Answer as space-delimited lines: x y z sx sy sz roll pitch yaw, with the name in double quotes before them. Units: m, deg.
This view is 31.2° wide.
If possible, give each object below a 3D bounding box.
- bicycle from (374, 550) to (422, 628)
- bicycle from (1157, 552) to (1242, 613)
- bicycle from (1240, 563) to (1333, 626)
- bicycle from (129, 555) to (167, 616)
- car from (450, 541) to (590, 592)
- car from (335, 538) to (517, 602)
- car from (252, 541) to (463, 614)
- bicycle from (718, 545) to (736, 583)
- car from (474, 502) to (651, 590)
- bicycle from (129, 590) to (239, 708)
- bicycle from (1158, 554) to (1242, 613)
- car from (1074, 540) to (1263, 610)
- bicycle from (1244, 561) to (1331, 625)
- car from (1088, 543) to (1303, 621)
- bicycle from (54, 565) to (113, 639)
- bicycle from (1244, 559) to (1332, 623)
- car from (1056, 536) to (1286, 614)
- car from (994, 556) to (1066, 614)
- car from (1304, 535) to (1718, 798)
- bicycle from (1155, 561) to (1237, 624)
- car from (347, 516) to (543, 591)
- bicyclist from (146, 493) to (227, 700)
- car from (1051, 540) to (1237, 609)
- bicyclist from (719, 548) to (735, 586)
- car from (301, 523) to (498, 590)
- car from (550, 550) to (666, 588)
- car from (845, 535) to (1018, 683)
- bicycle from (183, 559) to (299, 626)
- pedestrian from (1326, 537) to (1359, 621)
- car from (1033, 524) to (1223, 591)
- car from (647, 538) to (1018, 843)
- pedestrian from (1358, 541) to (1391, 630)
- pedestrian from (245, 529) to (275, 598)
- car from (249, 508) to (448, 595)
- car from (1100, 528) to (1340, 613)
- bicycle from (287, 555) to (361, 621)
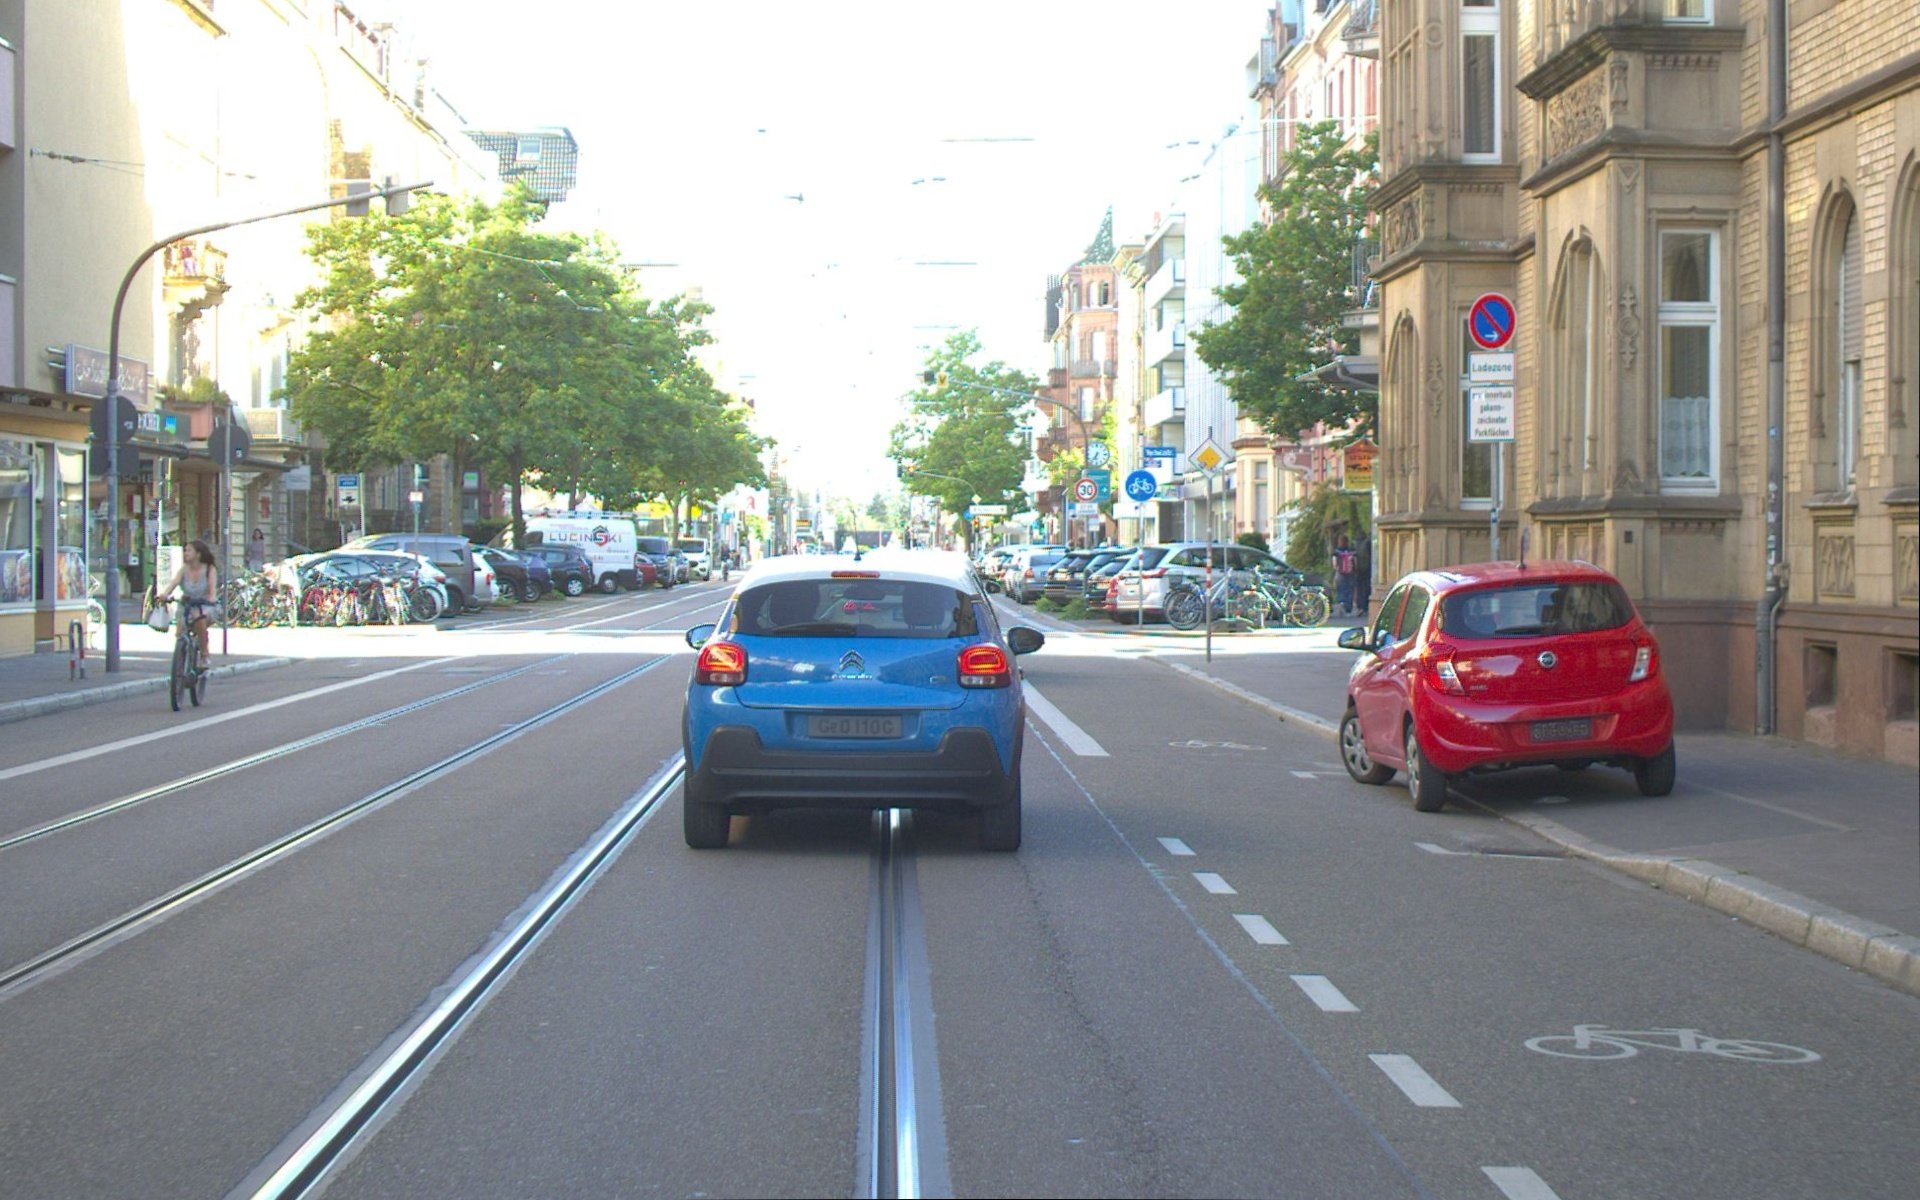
"bicycle" -10.362 -0.217 63.445 0.681 1.315 2.436 1 3 -5
"bicycle" 4.509 -0.333 64.644 1.560 1.123 0.294 1 0 6
"bicycle" 6.027 -0.100 63.417 1.675 1.123 0.551 1 0 6
"bicycle" -14.890 -0.277 63.030 0.403 1.106 1.838 0 0 -22
"car" -13.455 -1.016 105.139 3.986 1.484 1.807 1 0 -17
"car" -12.525 -0.712 80.609 3.831 1.425 1.766 1 1 -27
"car" -12.130 -0.455 69.282 3.780 1.395 1.755 1 1 -34
"bicycle" -10.276 -1.592 151.762 0.680 1.673 2.097 1 0 -1
"car" -12.842 -1.730 111.148 5.370 2.739 1.806 1 0 -31
"bicycle" -7.601 0.463 33.760 0.602 1.092 2.044 -2 1 -1
"bicycle" 4.491 -0.307 64.309 1.556 1.075 0.307 1 0 6
"car" 4.909 -0.588 81.041 3.986 1.590 1.960 1 1 -25
"bicycle" 5.975 -0.128 62.806 1.556 1.123 0.528 1 0 6
"car" 4.866 -0.374 71.015 3.986 1.531 1.919 1 1 -25
"bicycle" -14.788 0.018 58.075 0.681 1.105 2.436 1 3 -8
"bicycle" 5.939 -0.168 62.227 1.556 1.123 0.551 1 0 6
"car" 4.521 -0.533 73.713 4.433 1.590 2.089 1 1 -25
"car" 1.985 -0.441 98.482 1.873 1.590 4.719 1 1 -1
"car" 3.503 0.374 22.678 1.865 1.477 4.401 -3 1 -1
"bicycle" 4.286 -0.136 62.562 1.397 1.123 0.551 1 0 -6
"car" -12.783 -1.152 85.394 4.353 1.777 1.996 1 1 -33
"bicyclist" -7.598 -0.040 33.799 0.612 2.007 0.734 1 0 -1
"car" 4.490 -0.620 83.797 3.986 1.590 2.088 1 1 -25
"bicyclist" -10.300 -1.472 151.820 0.634 1.676 0.727 1 0 -1
"car" -12.604 -0.973 77.408 4.006 1.444 1.699 1 1 -33
"car" -12.456 -1.087 121.688 3.796 1.261 1.516 1 1 -26
"car" -0.334 0.077 39.697 1.873 1.590 4.000 1 0 -1
"bicycle" -13.085 -0.147 62.529 2.433 1.105 0.682 3 4 39
"pedestrian" 7.607 -0.417 68.404 0.518 1.643 0.864 1 0 -1
"car" 4.220 -1.073 86.397 4.302 1.590 1.983 1 1 -25
"car" -0.656 0.420 18.302 1.762 1.436 3.557 1 0 -1
"pedestrian" 8.288 -0.295 68.736 0.518 1.772 0.864 1 0 -1
"pedestrian" -16.856 -0.877 82.742 0.569 1.647 0.641 1 0 -1
"car" -13.179 -1.040 74.103 3.810 1.778 1.797 1 0 -29
"car" 5.138 -0.576 67.949 4.350 1.590 1.854 1 0 -25
"bicycle" -11.693 -0.234 63.184 0.681 1.119 1.888 -1 3 -32
